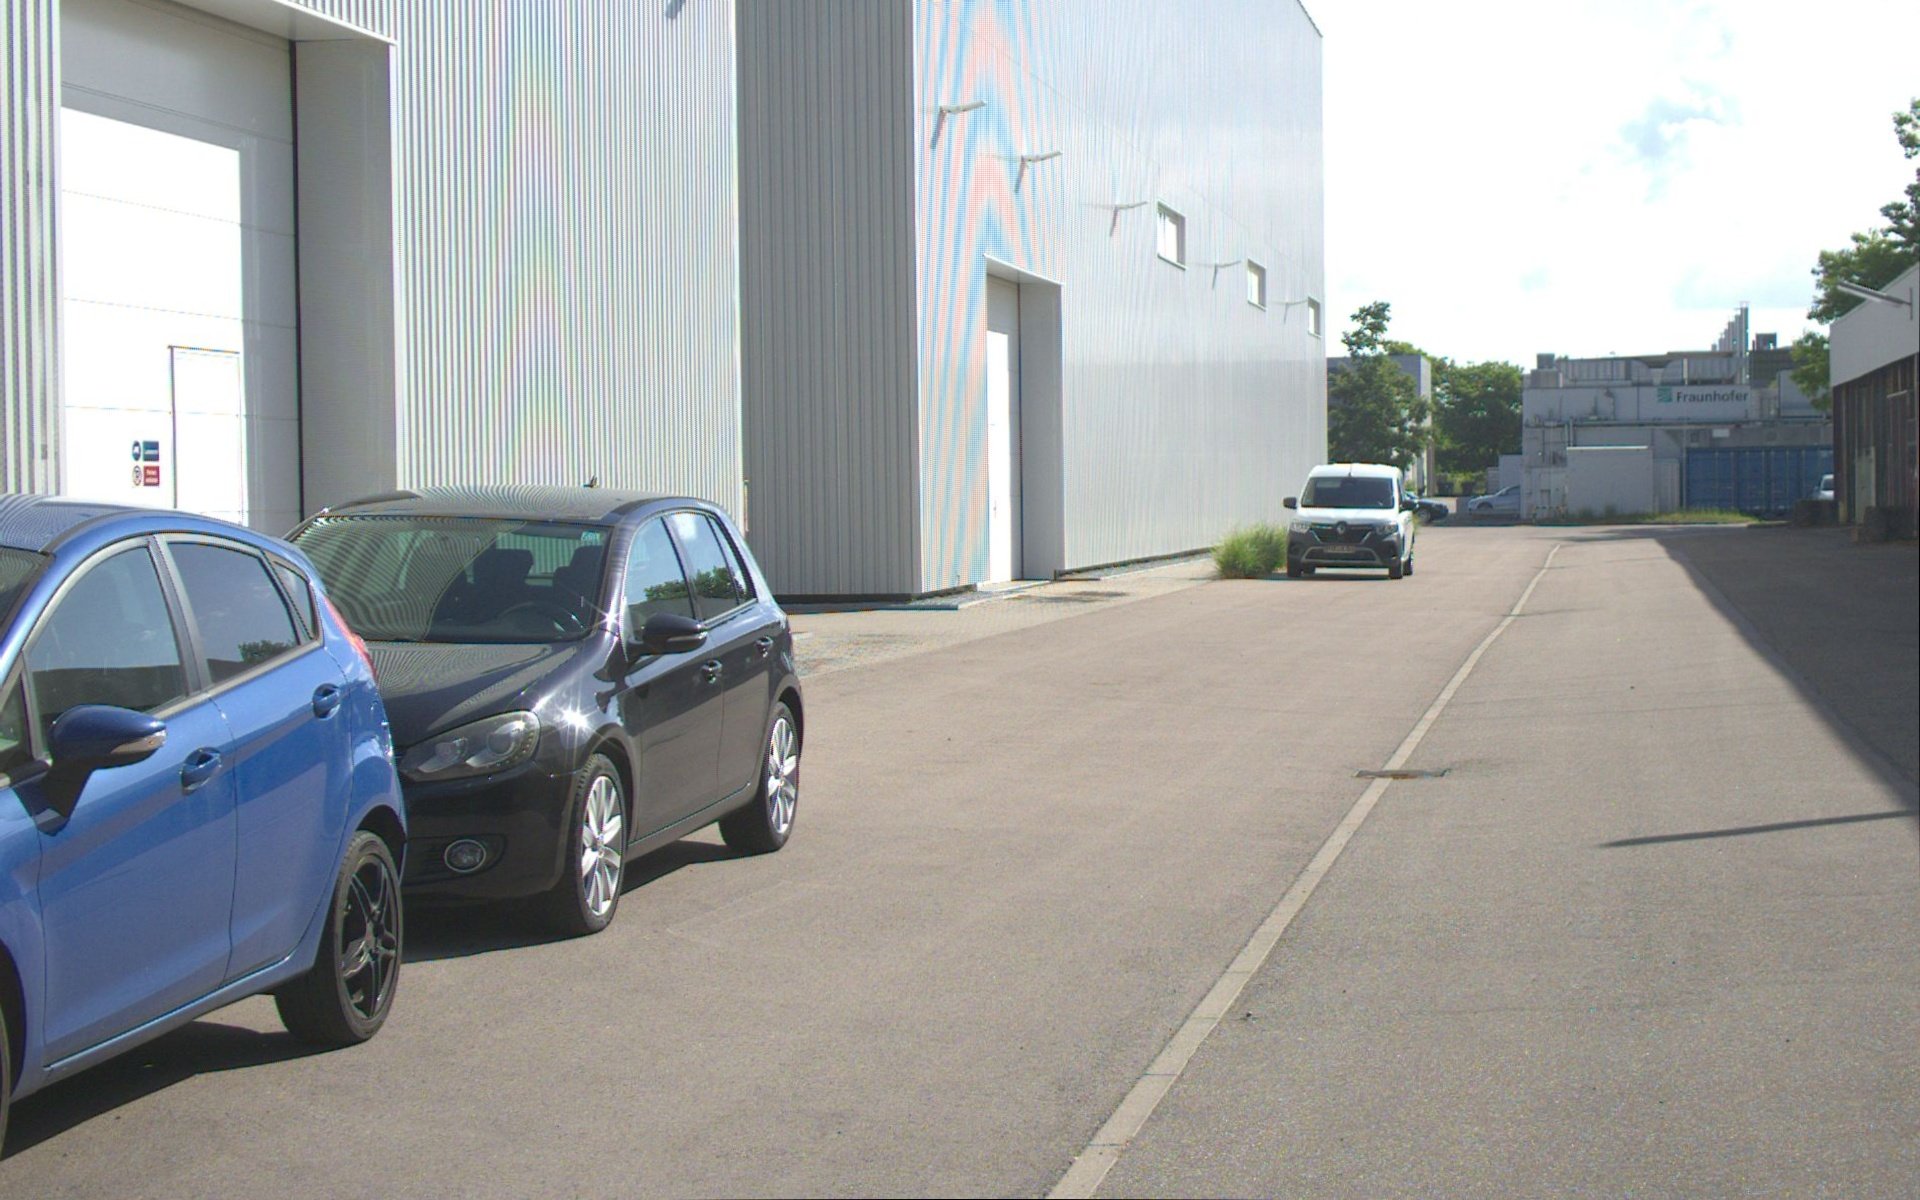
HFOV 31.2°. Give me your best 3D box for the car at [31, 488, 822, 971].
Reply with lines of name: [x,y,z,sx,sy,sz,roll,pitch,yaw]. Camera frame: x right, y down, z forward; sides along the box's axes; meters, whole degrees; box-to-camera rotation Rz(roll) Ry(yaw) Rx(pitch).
car: [-1.778,0.336,12.730,1.651,1.441,3.876,2,2,11]

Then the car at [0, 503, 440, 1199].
car: [-2.557,0.517,7.899,1.620,1.442,3.763,0,2,9]

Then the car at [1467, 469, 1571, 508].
car: [21.824,-4.361,134.245,3.887,1.456,1.622,-1,2,13]

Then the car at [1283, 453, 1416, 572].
car: [6.249,-1.412,54.818,1.908,1.787,3.999,-1,2,9]

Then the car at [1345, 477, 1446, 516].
car: [17.267,-4.120,136.248,3.886,1.456,1.622,-1,2,10]
